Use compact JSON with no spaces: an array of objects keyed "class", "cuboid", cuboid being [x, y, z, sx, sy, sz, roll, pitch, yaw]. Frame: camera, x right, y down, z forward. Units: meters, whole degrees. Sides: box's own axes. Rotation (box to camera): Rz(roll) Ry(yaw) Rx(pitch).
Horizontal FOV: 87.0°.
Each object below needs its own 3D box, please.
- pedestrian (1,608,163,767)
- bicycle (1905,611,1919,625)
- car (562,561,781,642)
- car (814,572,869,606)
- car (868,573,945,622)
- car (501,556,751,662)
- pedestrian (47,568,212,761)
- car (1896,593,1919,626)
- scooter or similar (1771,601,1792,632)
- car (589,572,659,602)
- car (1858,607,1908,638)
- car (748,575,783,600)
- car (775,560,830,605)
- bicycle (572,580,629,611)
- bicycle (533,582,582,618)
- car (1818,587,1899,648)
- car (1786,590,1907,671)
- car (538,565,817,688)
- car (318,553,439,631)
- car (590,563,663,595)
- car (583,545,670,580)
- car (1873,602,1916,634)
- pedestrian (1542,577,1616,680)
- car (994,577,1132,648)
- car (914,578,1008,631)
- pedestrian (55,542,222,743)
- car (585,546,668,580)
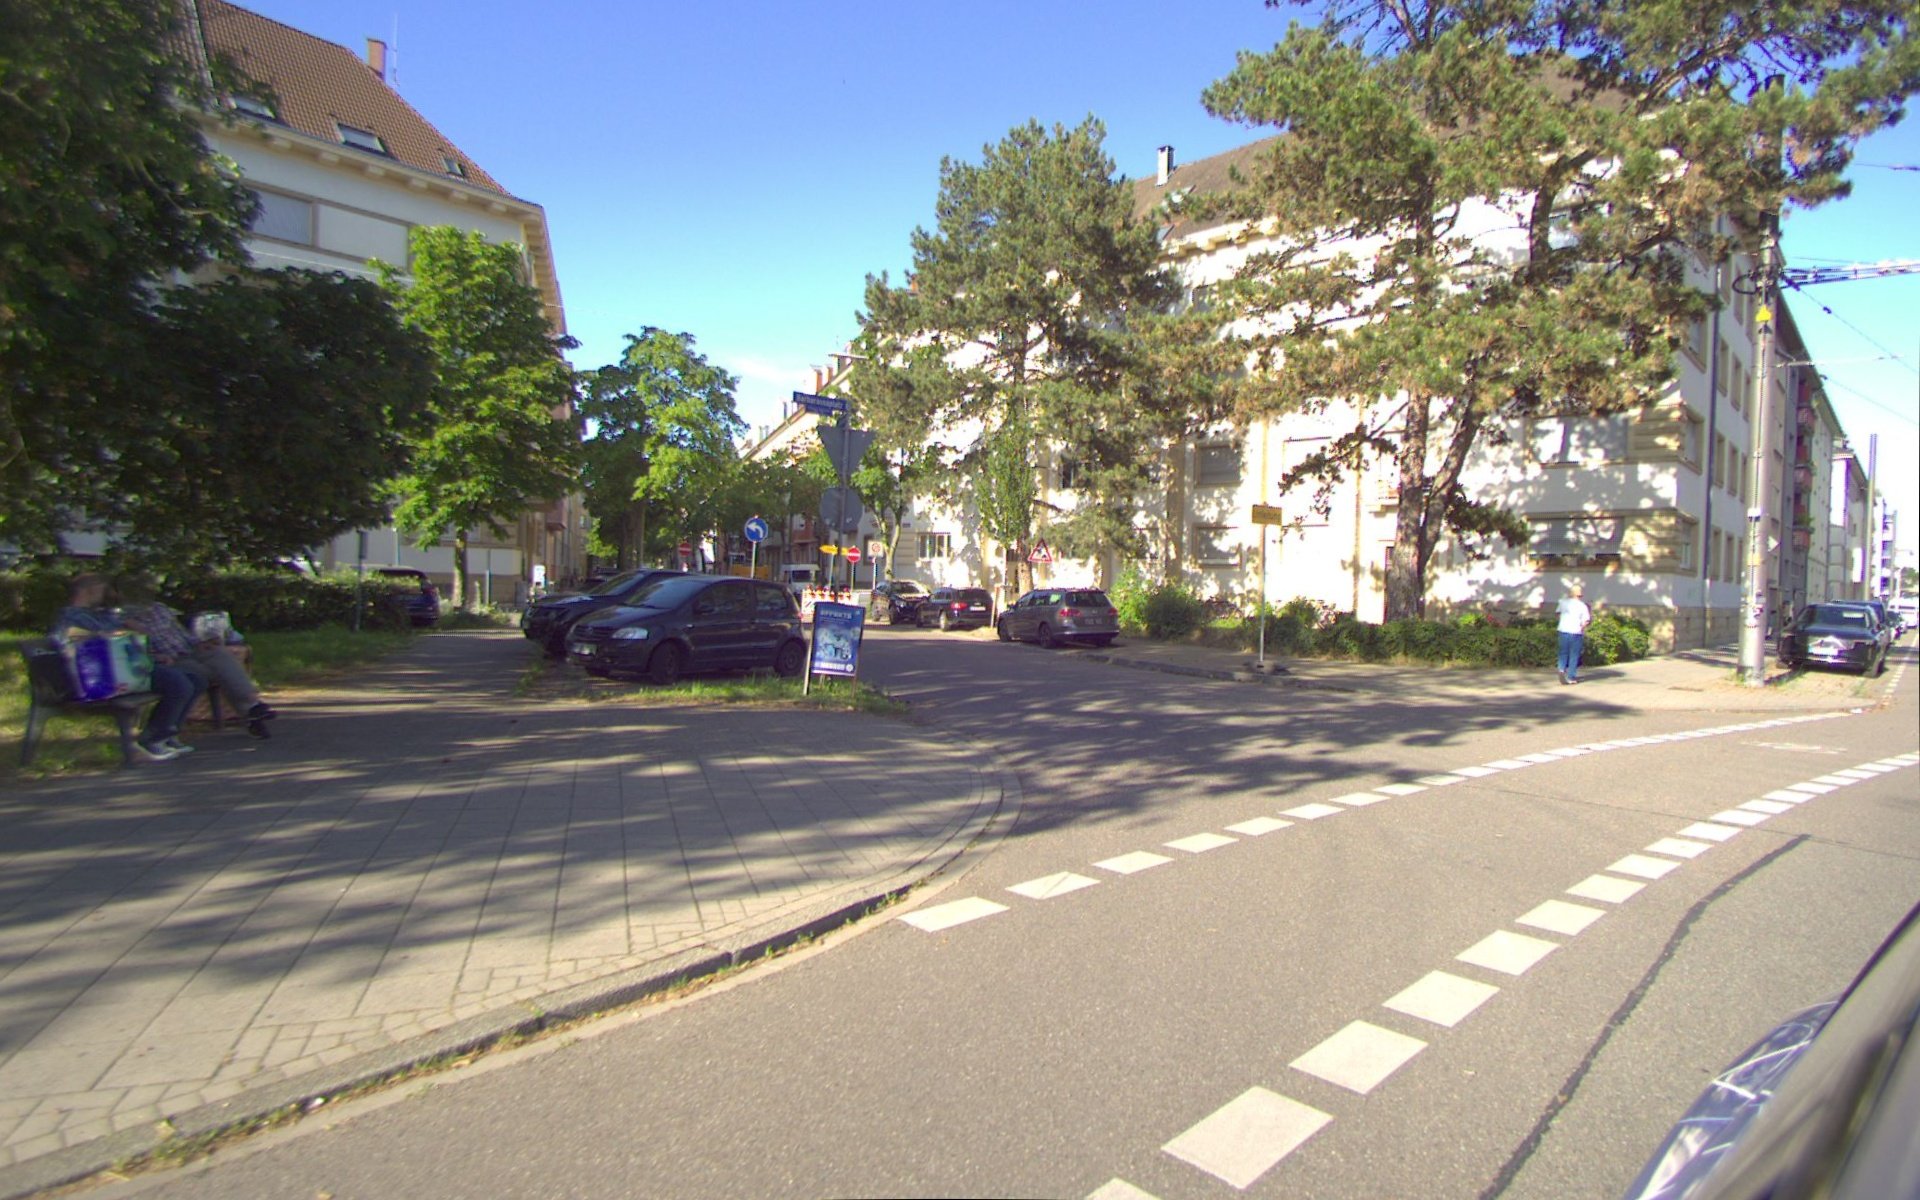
[{"class":"pedestrian","cuboid":[-5.464,0.534,6.325,0.610,0.946,0.405,3,-2,-18]},{"class":"bicycle","cuboid":[79.743,1.490,84.155,0.477,1.101,2.027,0,-1,2]},{"class":"car","cuboid":[-5.883,0.022,21.032,1.633,1.458,4.181,3,2,39]},{"class":"car","cuboid":[-6.012,-0.517,50.815,1.762,1.632,4.007,0,-1,-22]},{"class":"car","cuboid":[-2.105,-0.100,38.688,1.732,1.733,3.920,2,0,-21]},{"class":"car","cuboid":[-5.604,0.136,17.233,3.742,1.592,1.454,1,2,-42]},{"class":"pedestrian","cuboid":[-5.582,0.417,6.835,0.745,1.242,0.405,0,-1,-18]},{"class":"car","cuboid":[83.049,0.853,87.989,2.152,2.729,6.191,5,3,44]},{"class":"scooter or similar","cuboid":[34.723,0.699,42.769,0.459,1.253,1.317,7,4,45]},{"class":"car","cuboid":[-20.051,-0.776,60.504,3.916,1.728,2.004,0,-1,-18]},{"class":"car","cuboid":[46.230,1.088,50.666,1.703,1.290,4.235,7,5,43]},{"class":"car","cuboid":[-14.003,-0.864,72.713,1.762,1.632,4.007,0,-1,-22]},{"class":"car","cuboid":[-9.383,-0.969,59.868,2.082,2.474,5.327,0,-1,-22]},{"class":"bicycle","cuboid":[-14.072,-0.170,39.625,2.020,1.204,0.598,0,-1,-29]},{"class":"bicycle","cuboid":[-13.482,0.013,33.898,2.050,1.204,0.589,-1,-1,39]},{"class":"car","cuboid":[32.971,0.608,37.087,1.914,1.922,5.053,7,4,44]},{"class":"car","cuboid":[22.697,0.718,25.840,4.852,1.737,1.881,1,4,-45]},{"class":"car","cuboid":[-3.976,0.318,14.795,1.629,1.513,3.763,3,2,33]},{"class":"car","cuboid":[-12.829,-0.219,22.260,1.549,1.387,3.353,1,5,-43]},{"class":"car","cuboid":[-19.162,-1.186,58.197,3.916,1.728,2.004,0,-1,-18]},{"class":"car","cuboid":[-16.134,-1.794,49.000,3.916,1.572,1.821,0,-1,-18]},{"class":"car","cuboid":[53.603,1.017,58.101,1.636,1.667,4.307,6,3,42]},{"class":"pedestrian","cuboid":[10.913,0.487,17.855,0.712,1.743,0.882,2,1,-39]},{"class":"car","cuboid":[2.520,0.247,25.907,1.733,1.519,4.315,-2,3,-21]},{"class":"car","cuboid":[-0.040,0.108,33.391,1.732,1.487,3.922,2,2,-21]},{"class":"pedestrian","cuboid":[-6.014,0.300,7.454,0.739,1.391,0.688,0,-1,-18]},{"class":"car","cuboid":[-16.793,-1.827,51.030,3.916,1.572,1.821,0,-1,-18]}]
